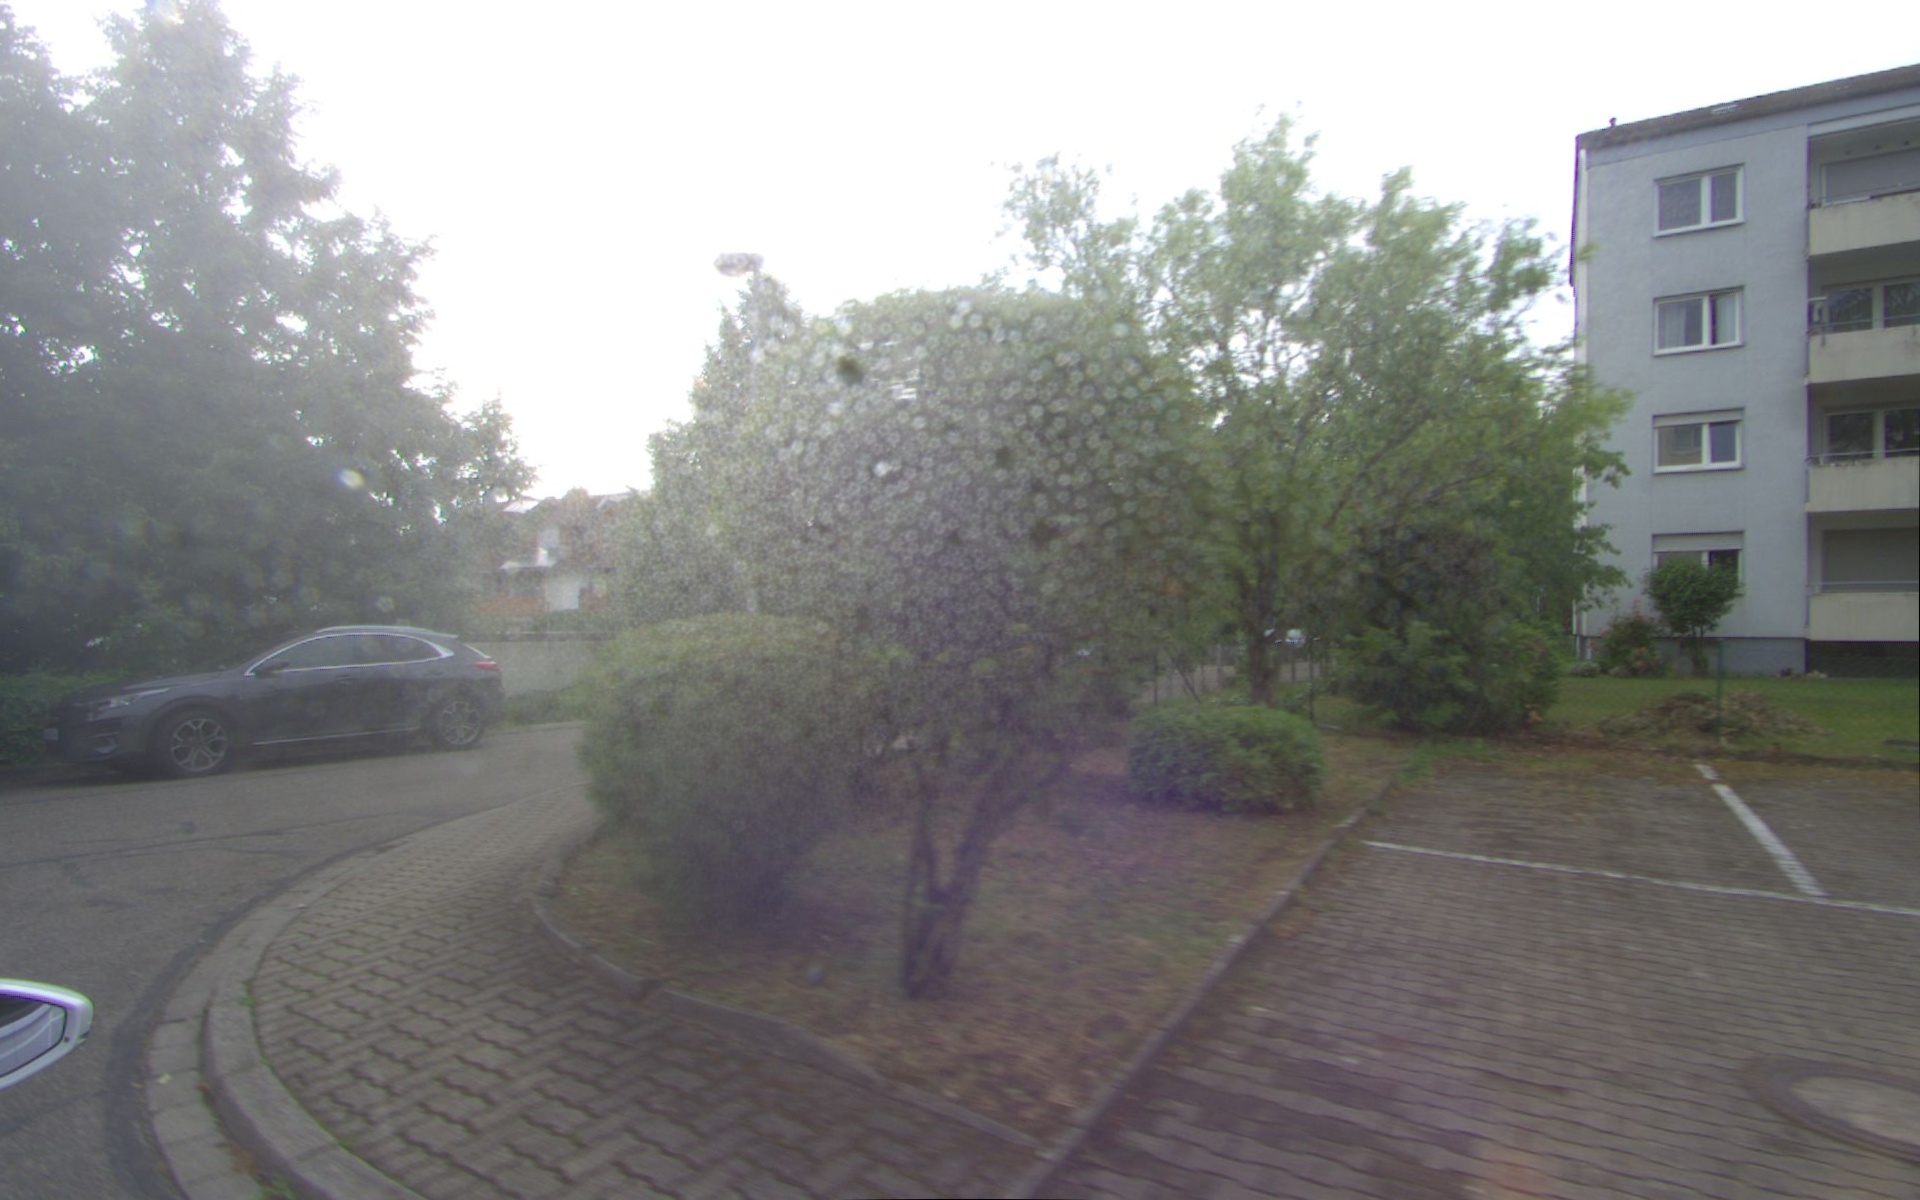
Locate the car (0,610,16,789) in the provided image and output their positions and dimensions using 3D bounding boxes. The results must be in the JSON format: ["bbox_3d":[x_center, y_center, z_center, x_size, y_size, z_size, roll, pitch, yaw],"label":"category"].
[{"bbox_3d":[-10.057,0.843,7.370,1.722,1.550,4.232,-2,-3,30],"label":"car"}]

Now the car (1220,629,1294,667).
[{"bbox_3d":[12.214,1.951,41.065,1.734,1.443,3.977,-3,-3,34],"label":"car"}]

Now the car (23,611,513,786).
[{"bbox_3d":[-7.412,0.964,11.144,1.724,1.550,4.170,-3,-3,35],"label":"car"}]
